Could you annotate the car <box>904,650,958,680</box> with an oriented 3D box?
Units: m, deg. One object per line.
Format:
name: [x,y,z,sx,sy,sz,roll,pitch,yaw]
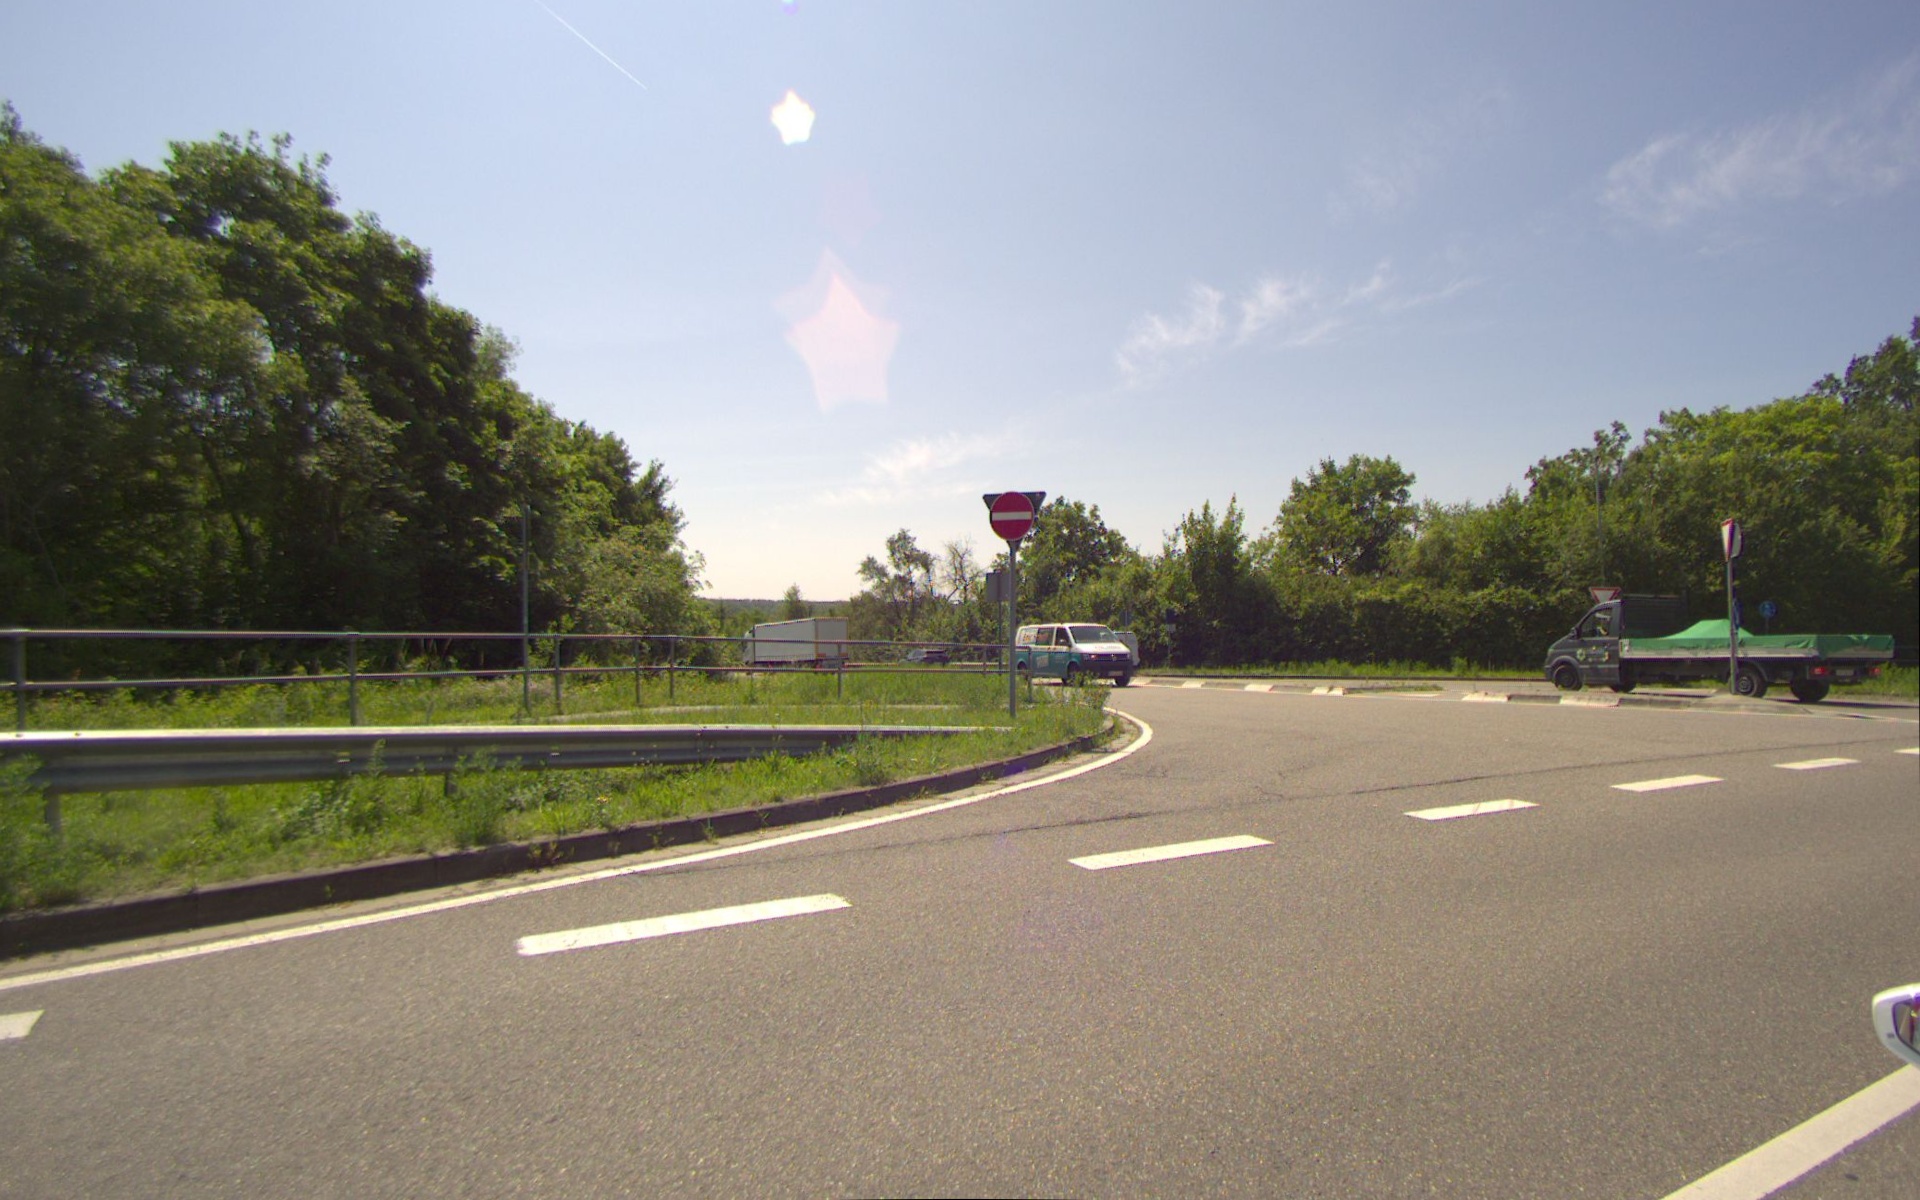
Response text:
car: [-1.670,3.646,56.056,1.745,1.616,3.910,1,-4,-23]

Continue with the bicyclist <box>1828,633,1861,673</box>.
bicyclist: [31.559,1.897,35.853,0.597,1.381,0.690,1,0,5]

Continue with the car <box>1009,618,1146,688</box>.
car: [3.601,1.710,31.899,1.972,2.054,5.160,1,-4,-24]

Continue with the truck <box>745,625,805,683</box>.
truck: [-14.981,4.420,80.994,2.962,4.330,5.887,1,-5,-29]

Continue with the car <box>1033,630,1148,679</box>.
car: [5.522,2.361,43.213,1.996,1.948,5.146,1,-4,-35]

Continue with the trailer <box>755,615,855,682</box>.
trailer: [-11.920,3.857,75.467,2.962,4.329,13.697,1,-6,-28]

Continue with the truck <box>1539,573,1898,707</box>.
truck: [16.811,0.941,22.953,2.111,2.598,6.618,1,-3,-16]

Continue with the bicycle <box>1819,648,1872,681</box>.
bicycle: [31.590,2.295,35.839,1.452,1.128,0.437,1,-1,4]
